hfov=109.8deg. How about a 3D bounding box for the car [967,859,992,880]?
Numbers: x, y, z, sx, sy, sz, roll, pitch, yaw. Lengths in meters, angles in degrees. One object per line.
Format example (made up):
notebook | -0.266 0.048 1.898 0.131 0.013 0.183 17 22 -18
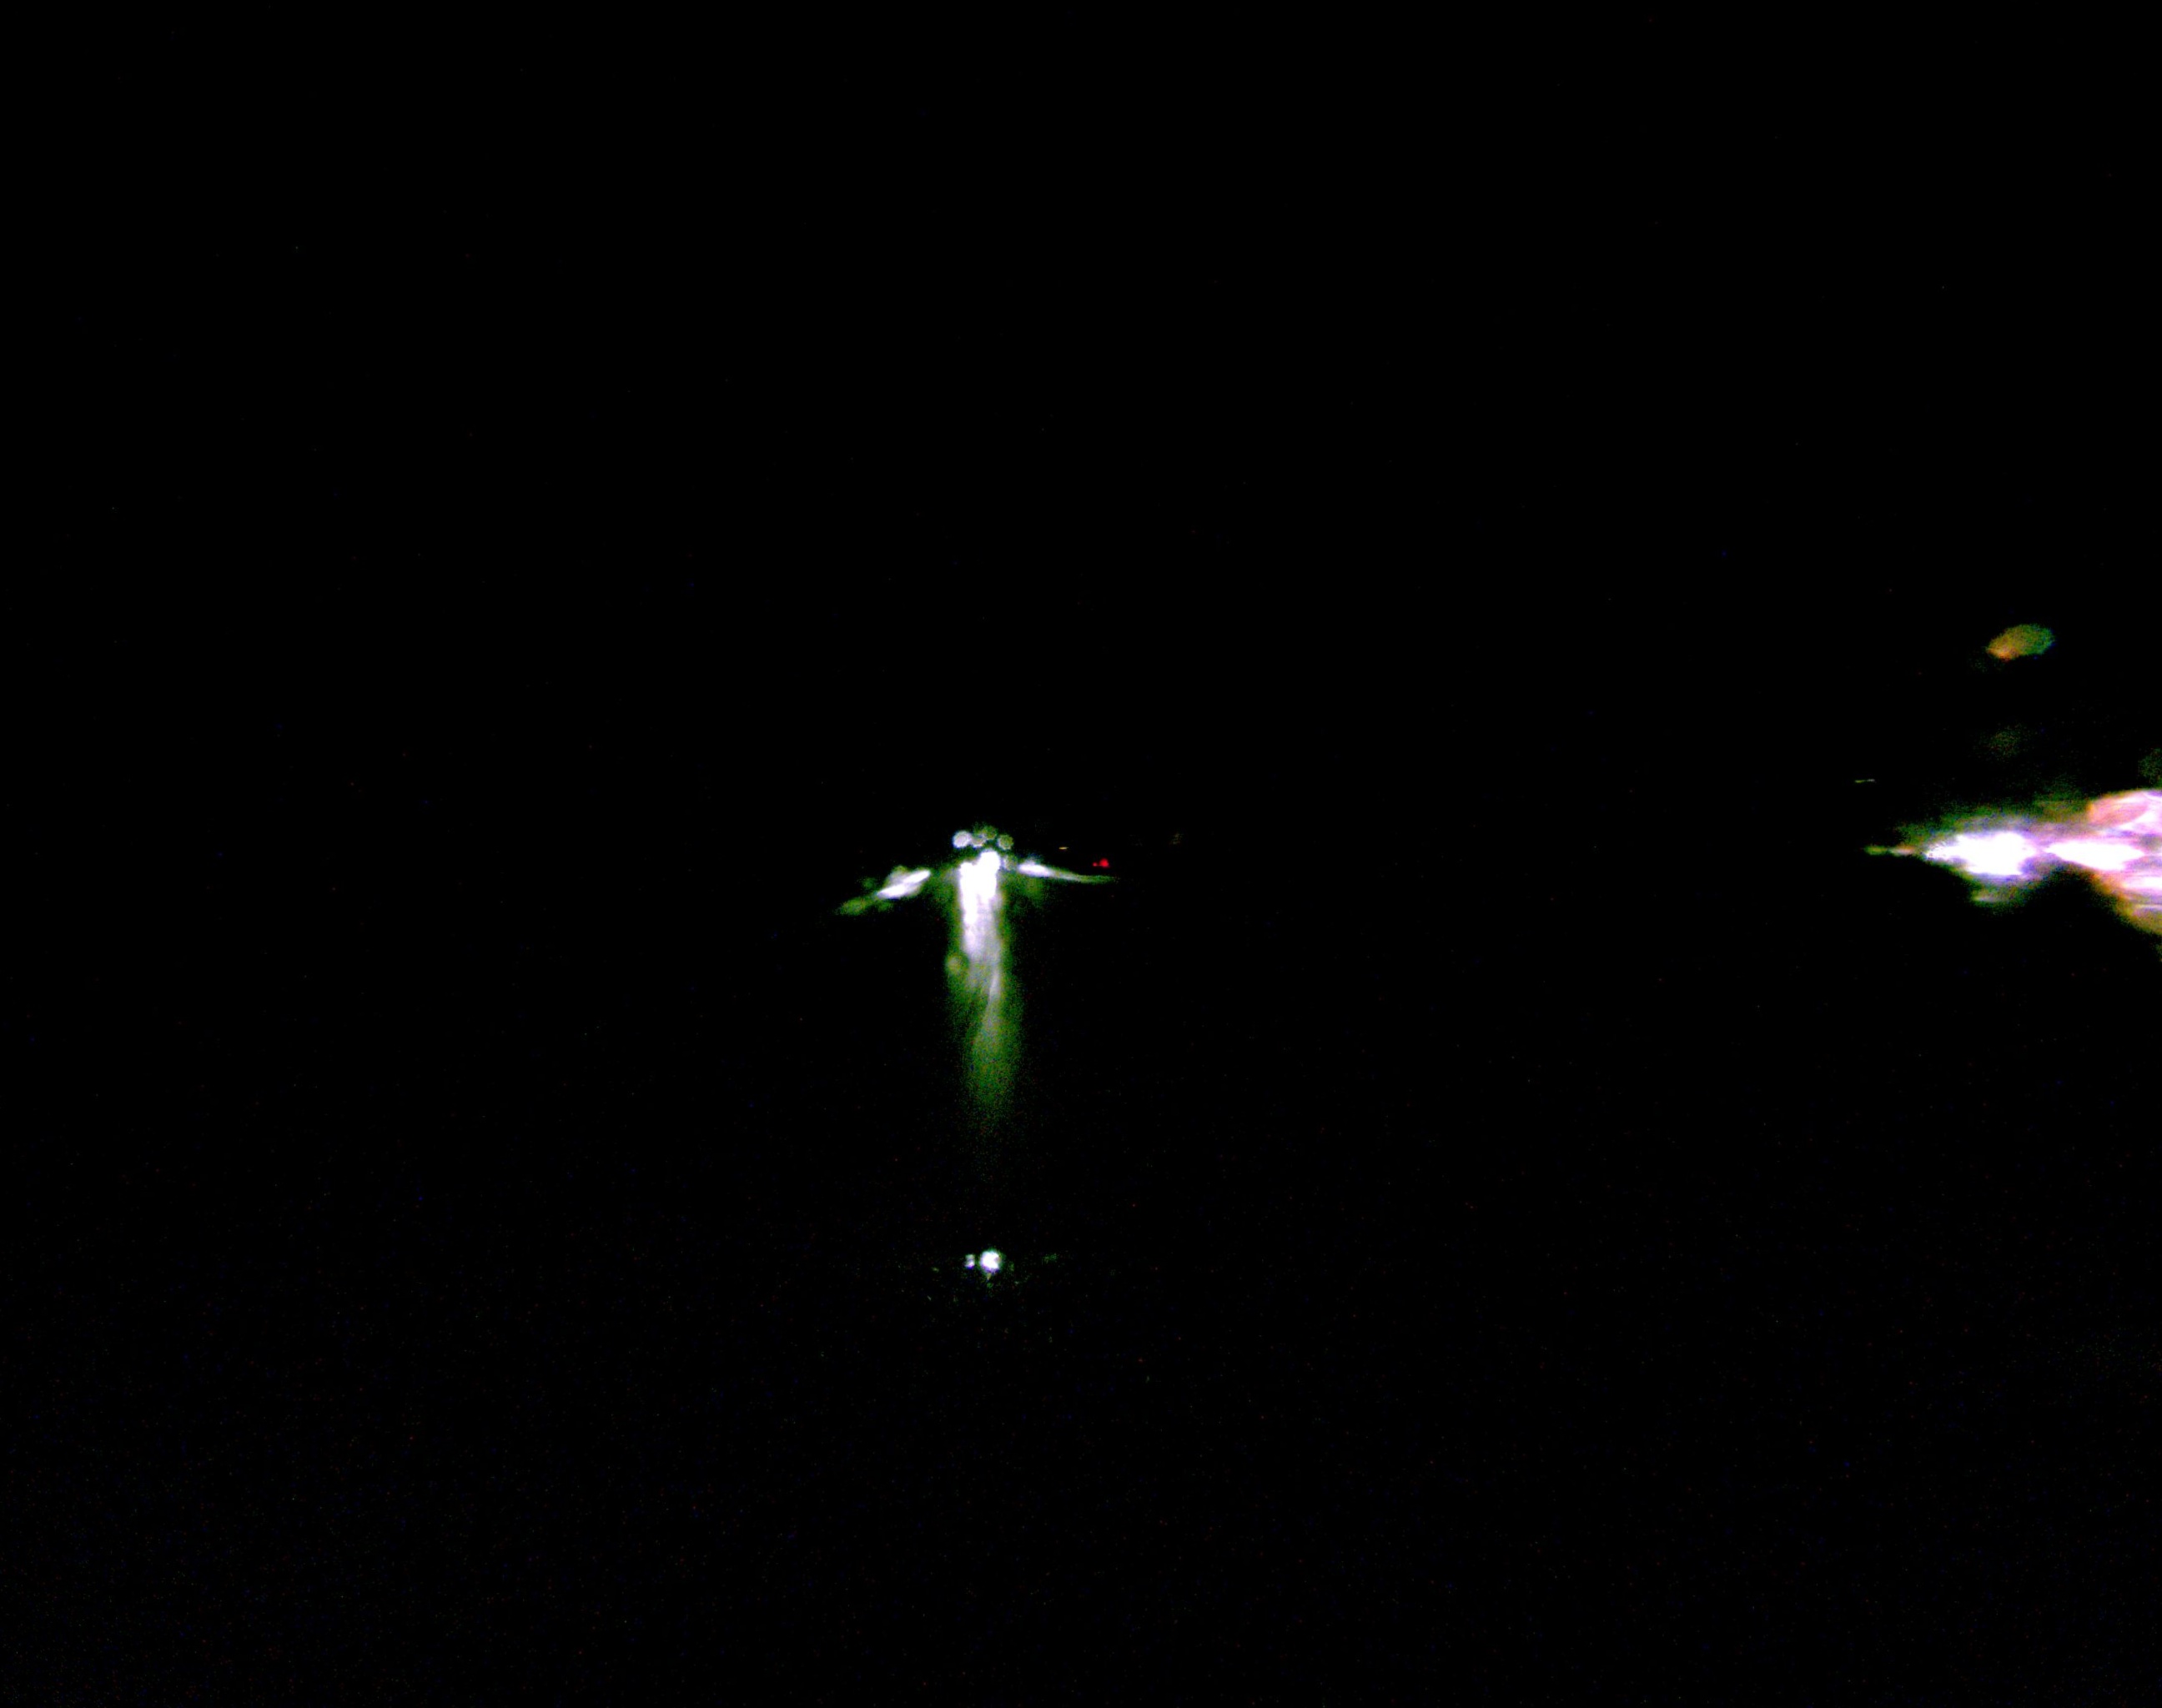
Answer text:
car | -9.332 1.390 69.492 2.000 1.737 4.097 -3 0 -11

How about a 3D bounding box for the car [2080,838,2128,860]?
car | 100.380 -0.464 74.635 1.995 2.002 4.008 -3 0 42

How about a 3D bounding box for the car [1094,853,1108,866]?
car | 2.655 0.720 102.903 1.758 1.630 4.000 -3 -1 0
